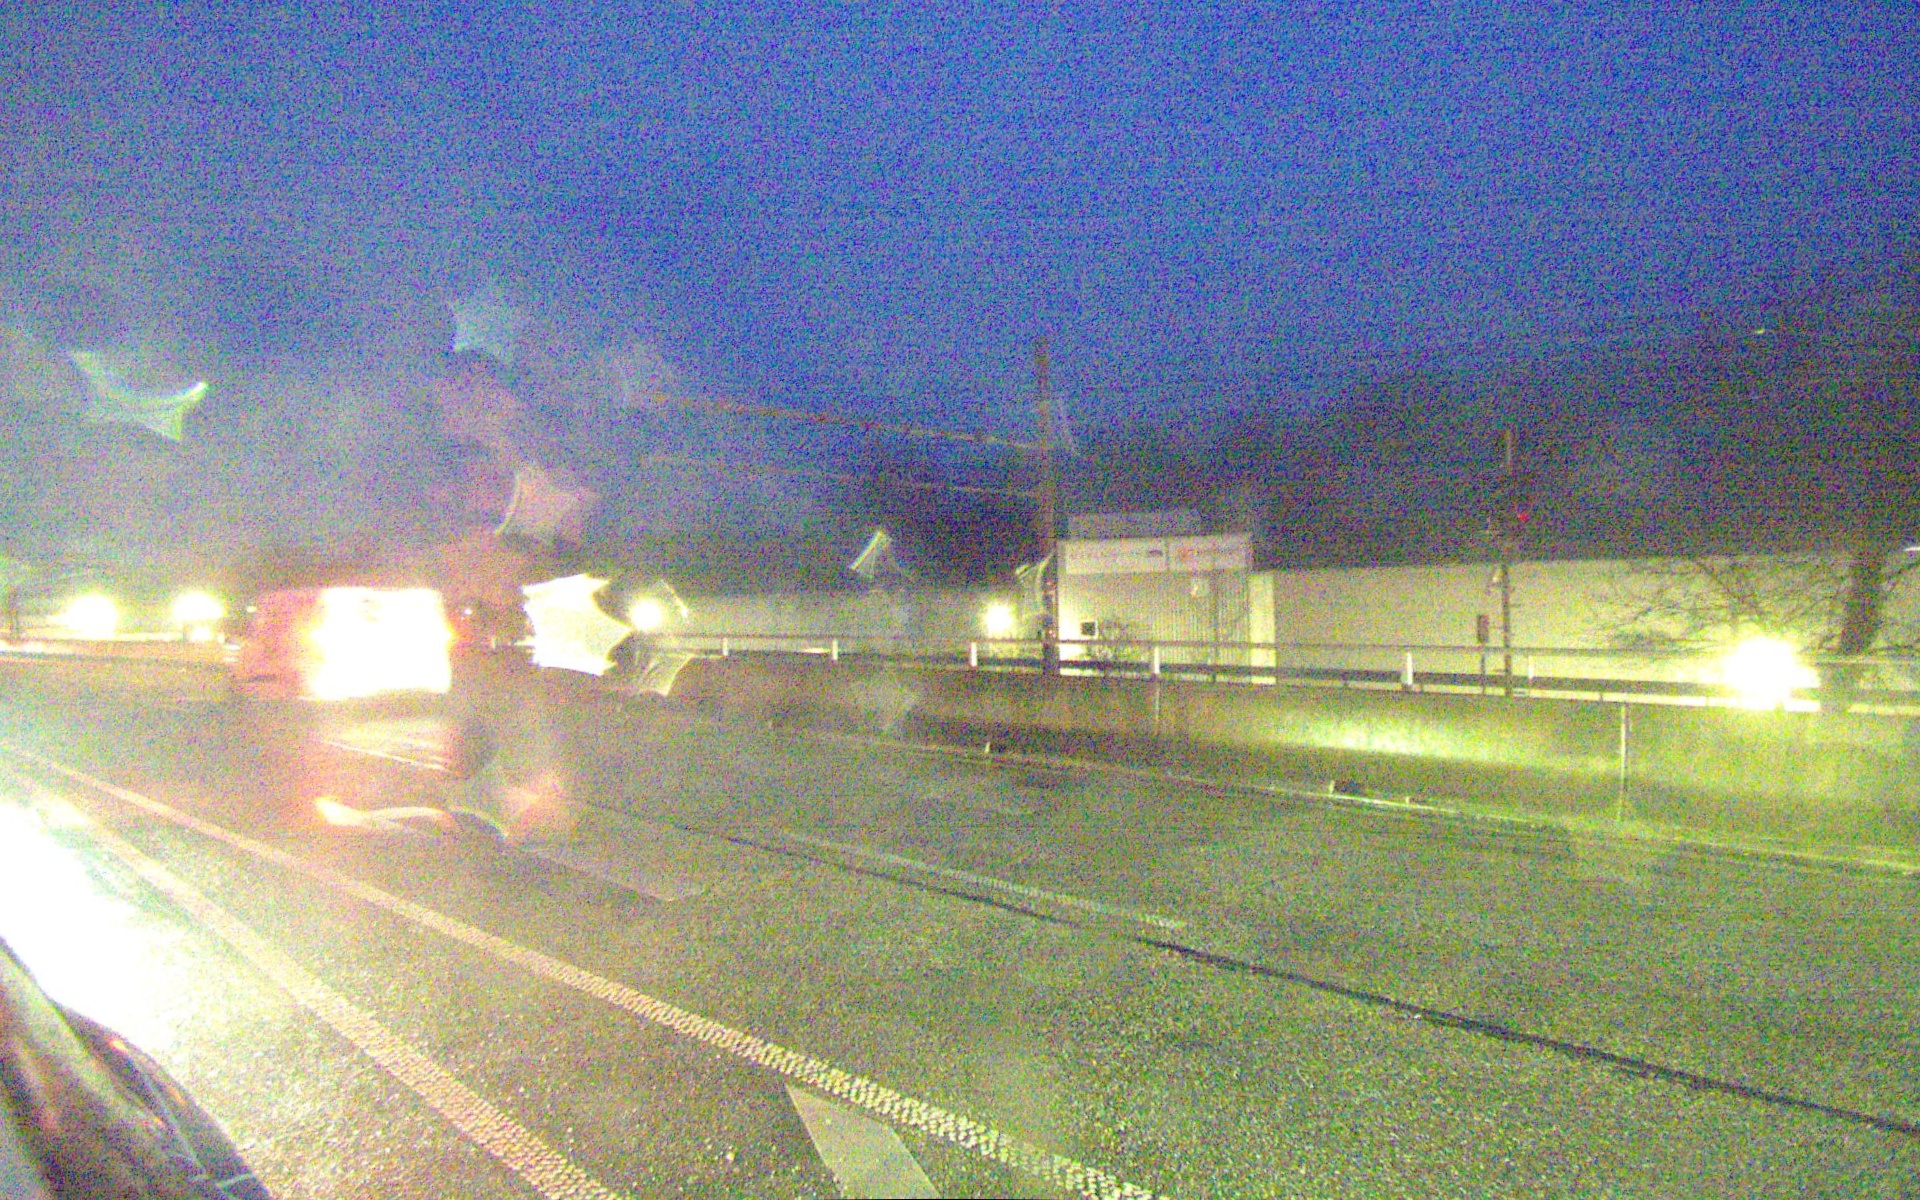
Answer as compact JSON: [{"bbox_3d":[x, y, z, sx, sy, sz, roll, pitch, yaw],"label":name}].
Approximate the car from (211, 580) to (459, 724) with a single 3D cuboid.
[{"bbox_3d":[-10.278,0.794,16.498,4.709,2.029,2.064,-2,-2,40],"label":"car"}]
